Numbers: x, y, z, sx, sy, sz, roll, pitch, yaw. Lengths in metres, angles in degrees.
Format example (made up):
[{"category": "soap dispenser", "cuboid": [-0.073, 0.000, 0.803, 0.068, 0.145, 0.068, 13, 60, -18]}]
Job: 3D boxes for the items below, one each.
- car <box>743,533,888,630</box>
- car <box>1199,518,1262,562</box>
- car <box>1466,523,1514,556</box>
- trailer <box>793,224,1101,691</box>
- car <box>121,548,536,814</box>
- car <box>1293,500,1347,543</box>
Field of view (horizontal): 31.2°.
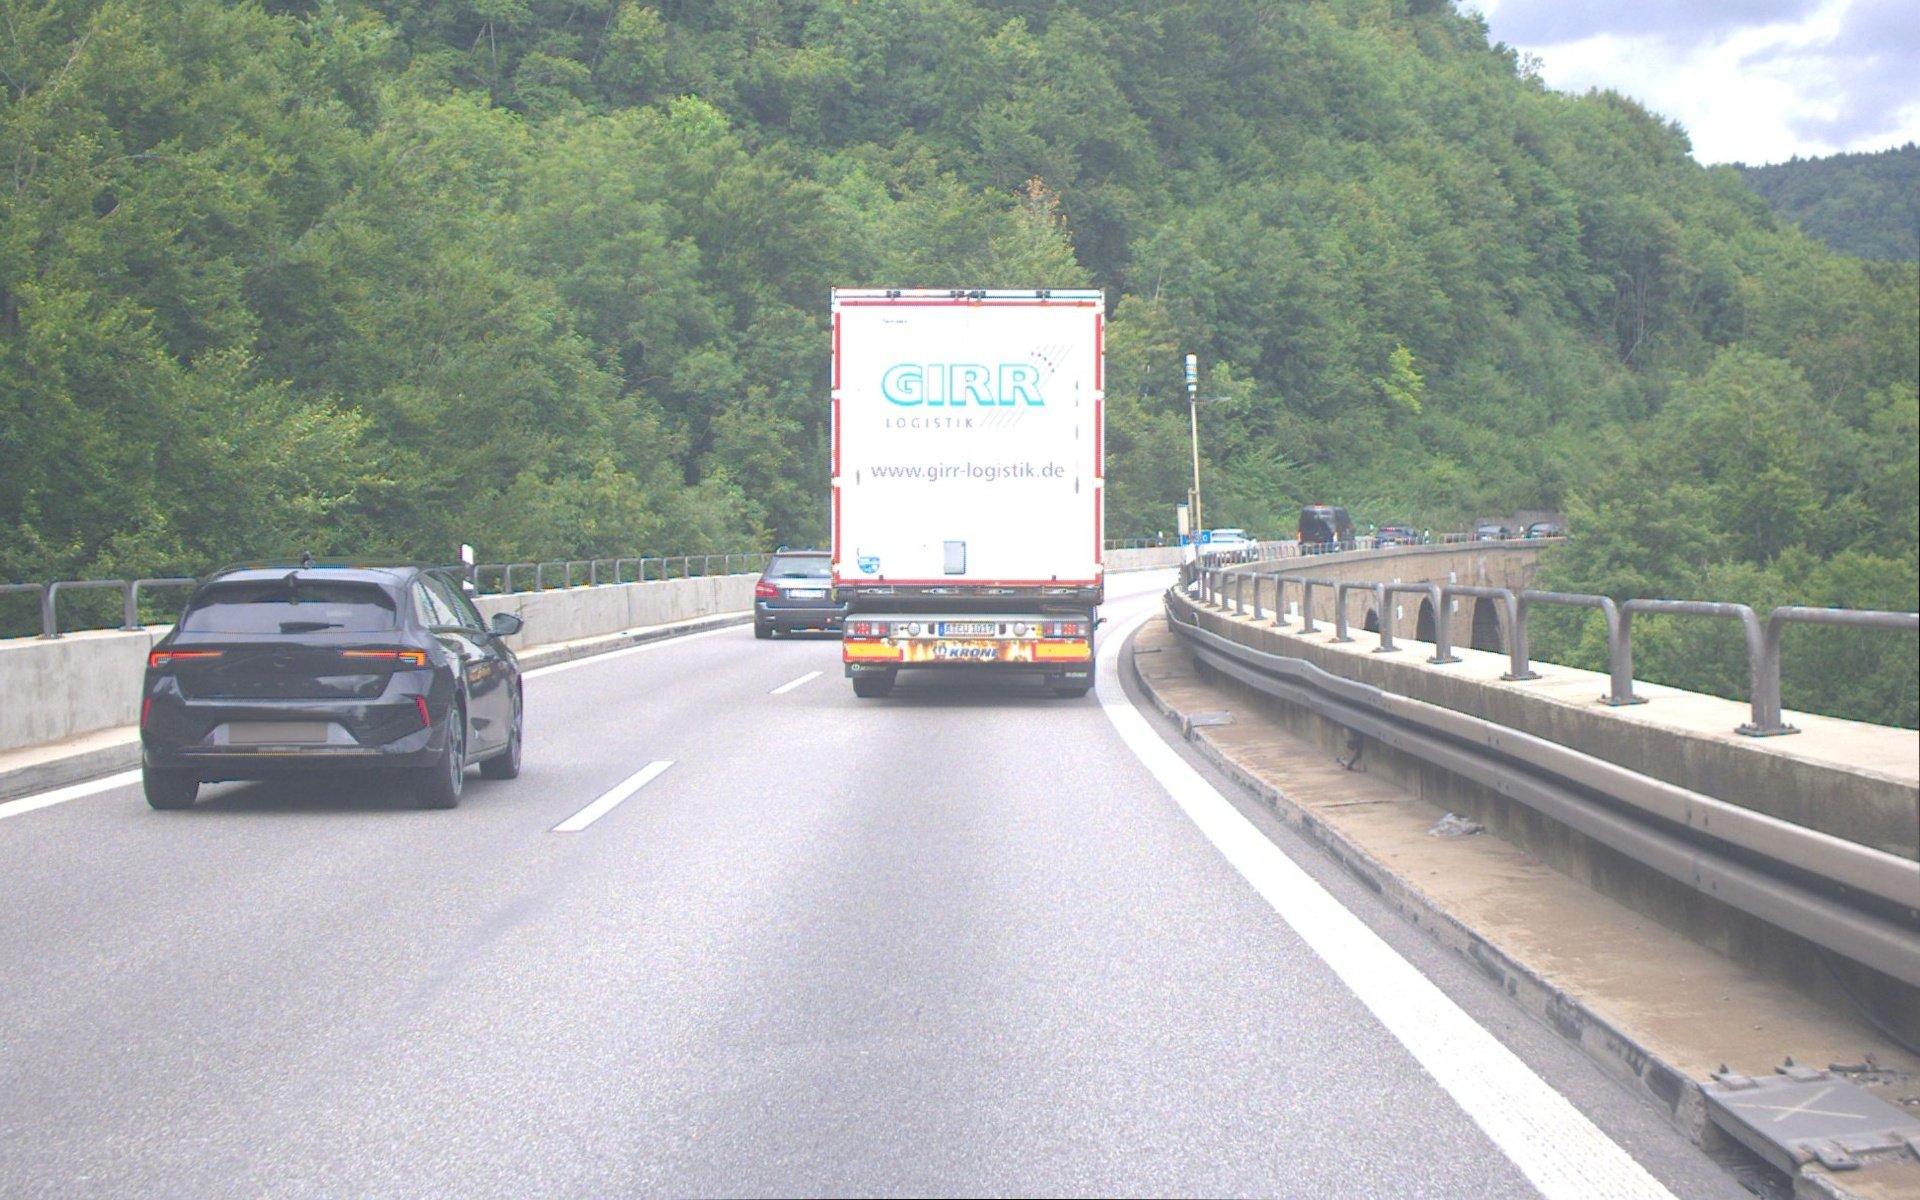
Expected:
[{"category": "car", "cuboid": [-2.334, -0.309, 56.564, 1.884, 1.505, 4.418, -1, 0, 4]}, {"category": "car", "cuboid": [11.377, -2.489, 144.384, 1.995, 1.788, 3.997, 0, 0, 15]}, {"category": "car", "cuboid": [30.013, -3.434, 194.587, 1.995, 1.788, 3.996, 0, 0, 19]}, {"category": "trailer", "cuboid": [0.049, -1.367, 37.948, 2.813, 4.288, 12.244, -1, 0, 2]}, {"category": "car", "cuboid": [-3.740, 0.410, 21.116, 1.773, 1.456, 4.582, 0, 1, -1]}, {"category": "car", "cuboid": [17.562, -3.791, 167.666, 1.995, 2.007, 3.997, 0, 0, 15]}]
